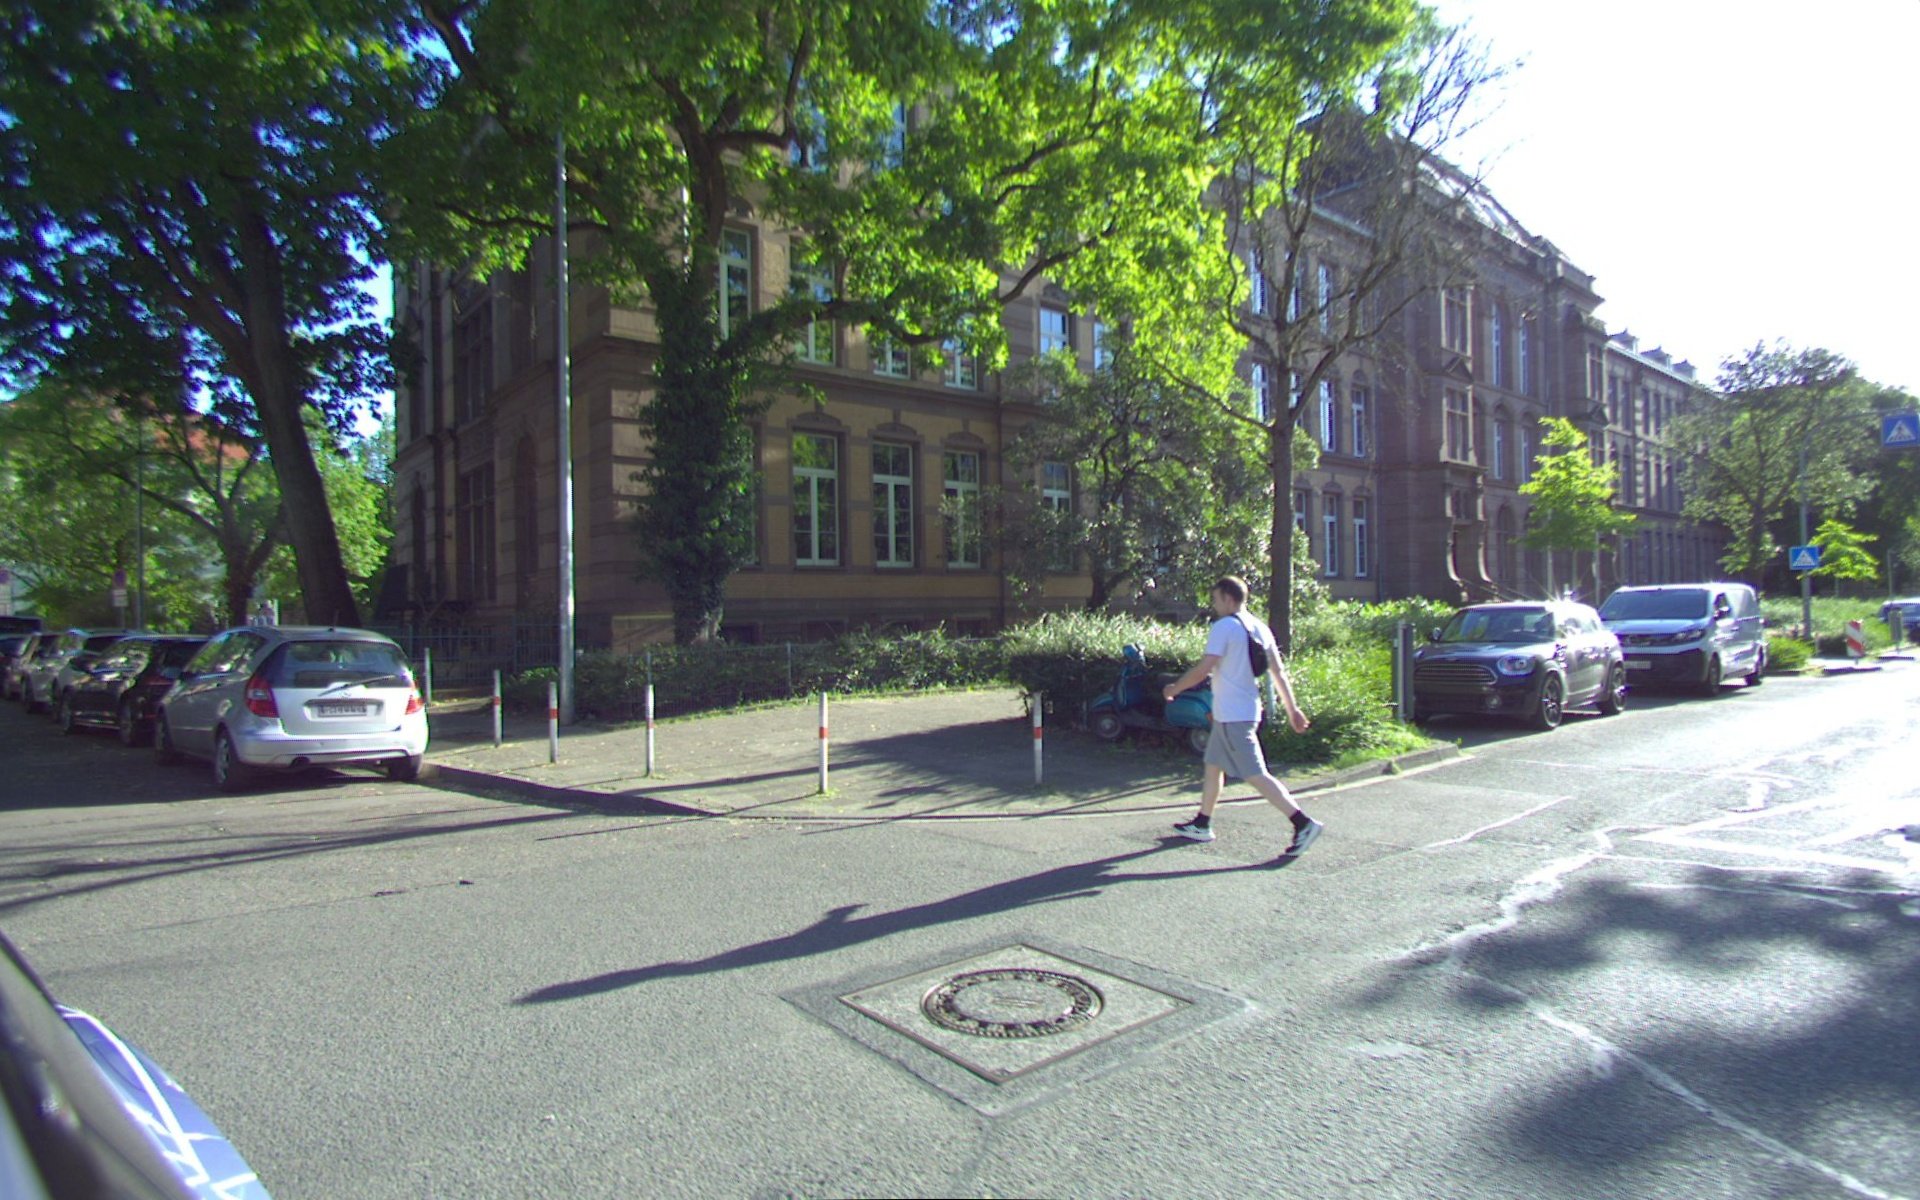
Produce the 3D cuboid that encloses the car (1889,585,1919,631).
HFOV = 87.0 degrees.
[{"bbox_3d":[36.951,0.273,38.199,4.366,1.692,2.004,-1,-1,-37],"label":"car"}]

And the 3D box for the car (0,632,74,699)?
[{"bbox_3d":[-22.683,1.542,24.243,3.842,1.475,1.709,-2,-2,41],"label":"car"}]

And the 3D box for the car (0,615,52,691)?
[{"bbox_3d":[-26.781,1.440,27.894,5.040,1.973,1.973,-2,-3,41],"label":"car"}]

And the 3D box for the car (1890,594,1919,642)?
[{"bbox_3d":[25.986,0.436,26.306,3.725,1.185,2.004,-1,-1,-37],"label":"car"}]

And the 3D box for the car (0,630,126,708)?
[{"bbox_3d":[-18.910,1.401,21.273,3.309,1.475,1.604,-2,-2,41],"label":"car"}]

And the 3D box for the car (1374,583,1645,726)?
[{"bbox_3d":[7.387,0.607,13.447,4.082,1.587,1.887,-1,0,-42],"label":"car"}]

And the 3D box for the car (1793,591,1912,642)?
[{"bbox_3d":[24.819,0.429,28.118,3.935,1.314,1.741,-1,-1,-38],"label":"car"}]

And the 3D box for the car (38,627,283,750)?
[{"bbox_3d":[-11.319,1.160,14.263,3.990,1.475,1.567,0,-3,35],"label":"car"}]

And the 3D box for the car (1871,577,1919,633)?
[{"bbox_3d":[30.582,0.127,31.868,4.366,1.692,2.004,-1,-1,-37],"label":"car"}]

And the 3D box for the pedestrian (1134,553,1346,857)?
[{"bbox_3d":[1.782,0.612,6.490,0.793,1.759,1.007,-1,-1,-43],"label":"pedestrian"}]

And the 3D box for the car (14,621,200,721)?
[{"bbox_3d":[-14.927,1.188,17.648,3.996,1.545,1.770,-2,-4,40],"label":"car"}]

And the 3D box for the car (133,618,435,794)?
[{"bbox_3d":[-7.417,1.010,10.964,3.950,1.570,1.688,-1,-3,41],"label":"car"}]

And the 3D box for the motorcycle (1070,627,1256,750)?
[{"bbox_3d":[1.991,0.840,10.200,0.536,1.110,1.899,-1,-1,-40],"label":"motorcycle"}]

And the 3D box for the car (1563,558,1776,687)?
[{"bbox_3d":[12.757,0.381,18.086,4.578,2.029,2.003,-1,-3,-41],"label":"car"}]
